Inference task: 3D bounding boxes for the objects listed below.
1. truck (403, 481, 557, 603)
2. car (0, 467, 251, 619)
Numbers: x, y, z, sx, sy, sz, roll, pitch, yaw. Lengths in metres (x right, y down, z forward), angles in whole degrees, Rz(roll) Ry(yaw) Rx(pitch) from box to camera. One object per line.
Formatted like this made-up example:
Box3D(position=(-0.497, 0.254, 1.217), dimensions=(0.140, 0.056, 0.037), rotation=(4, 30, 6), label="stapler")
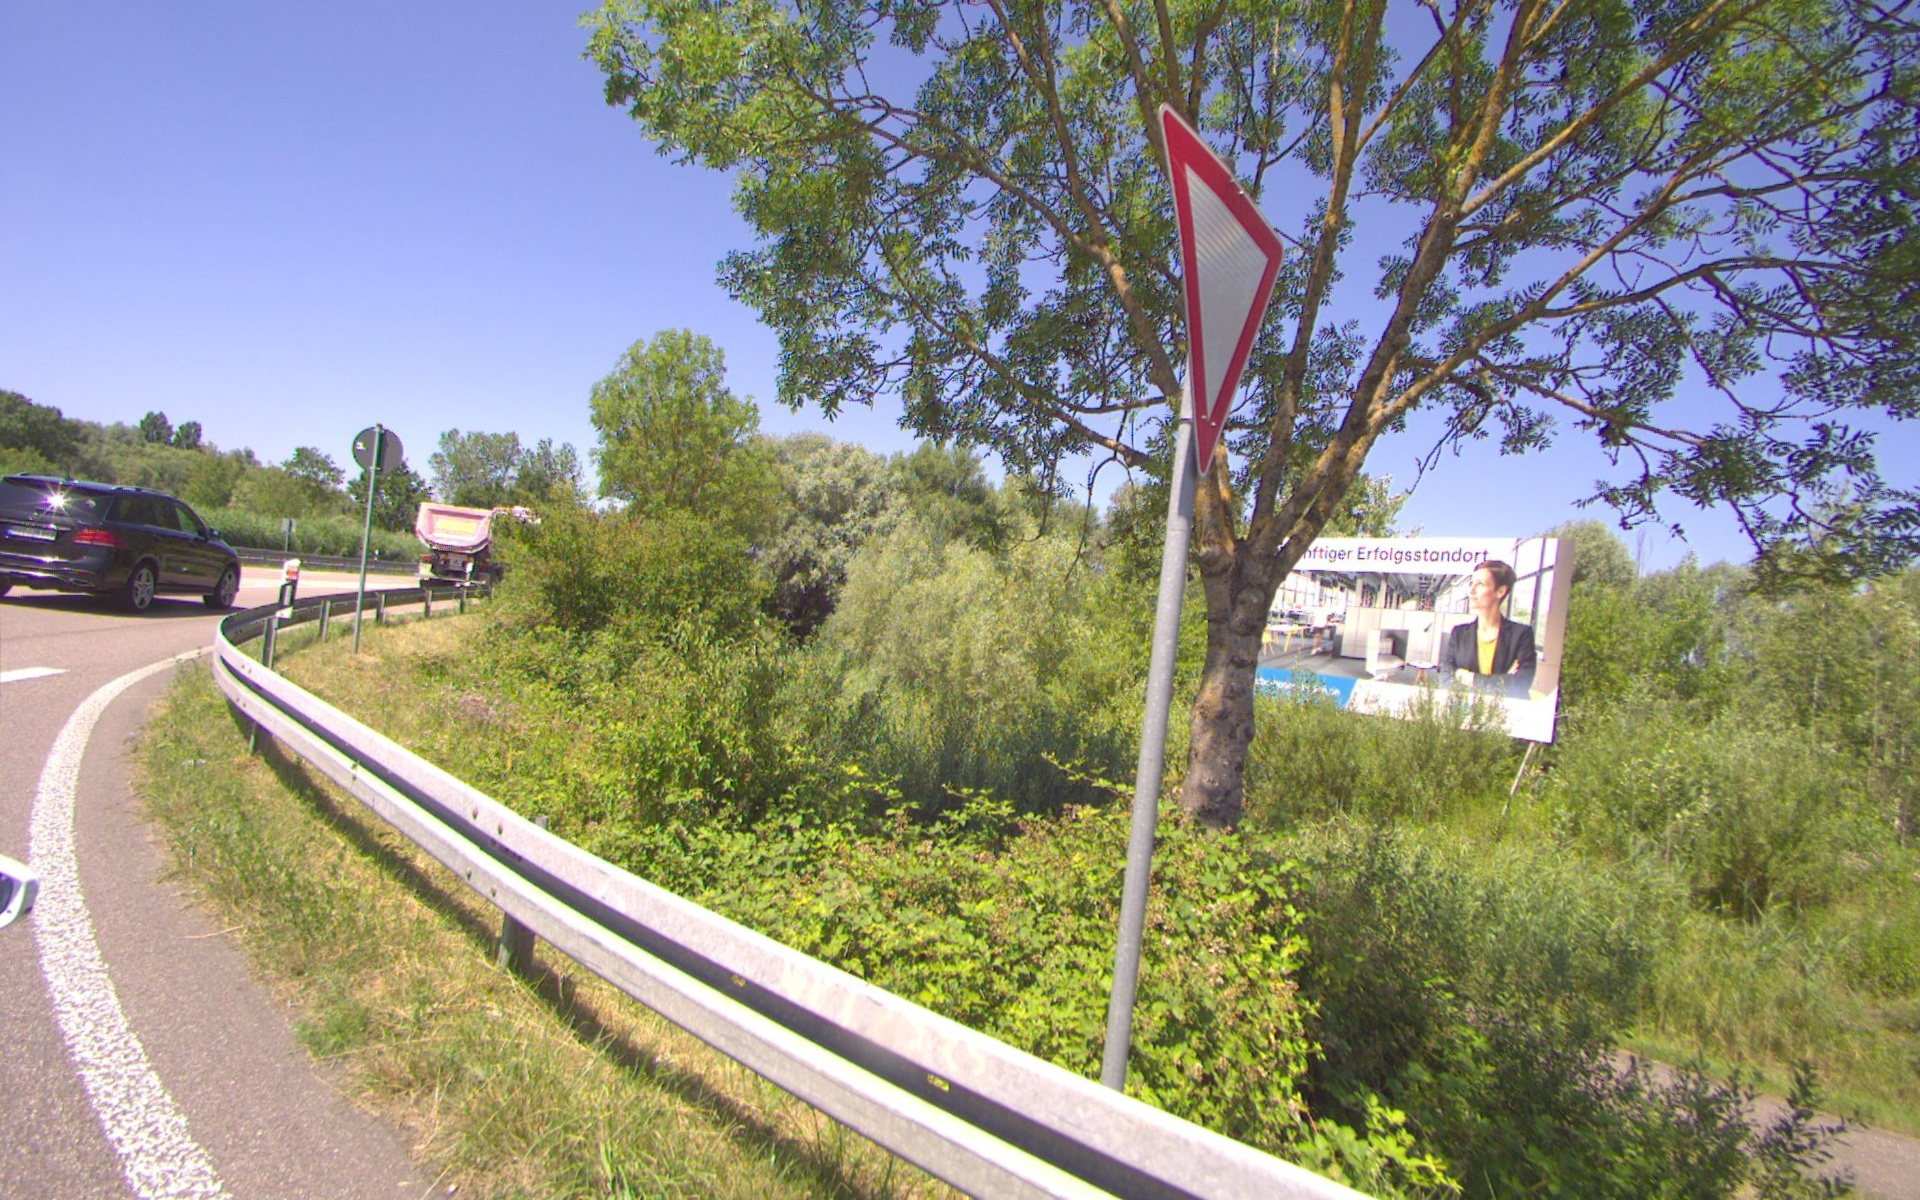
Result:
Box3D(position=(-18.956, -2.110, 40.729), dimensions=(2.797, 3.869, 11.853), rotation=(6, 0, -13), label="truck")
Box3D(position=(-12.662, -0.791, 15.007), dimensions=(1.905, 1.788, 4.582), rotation=(7, -1, -17), label="car")
